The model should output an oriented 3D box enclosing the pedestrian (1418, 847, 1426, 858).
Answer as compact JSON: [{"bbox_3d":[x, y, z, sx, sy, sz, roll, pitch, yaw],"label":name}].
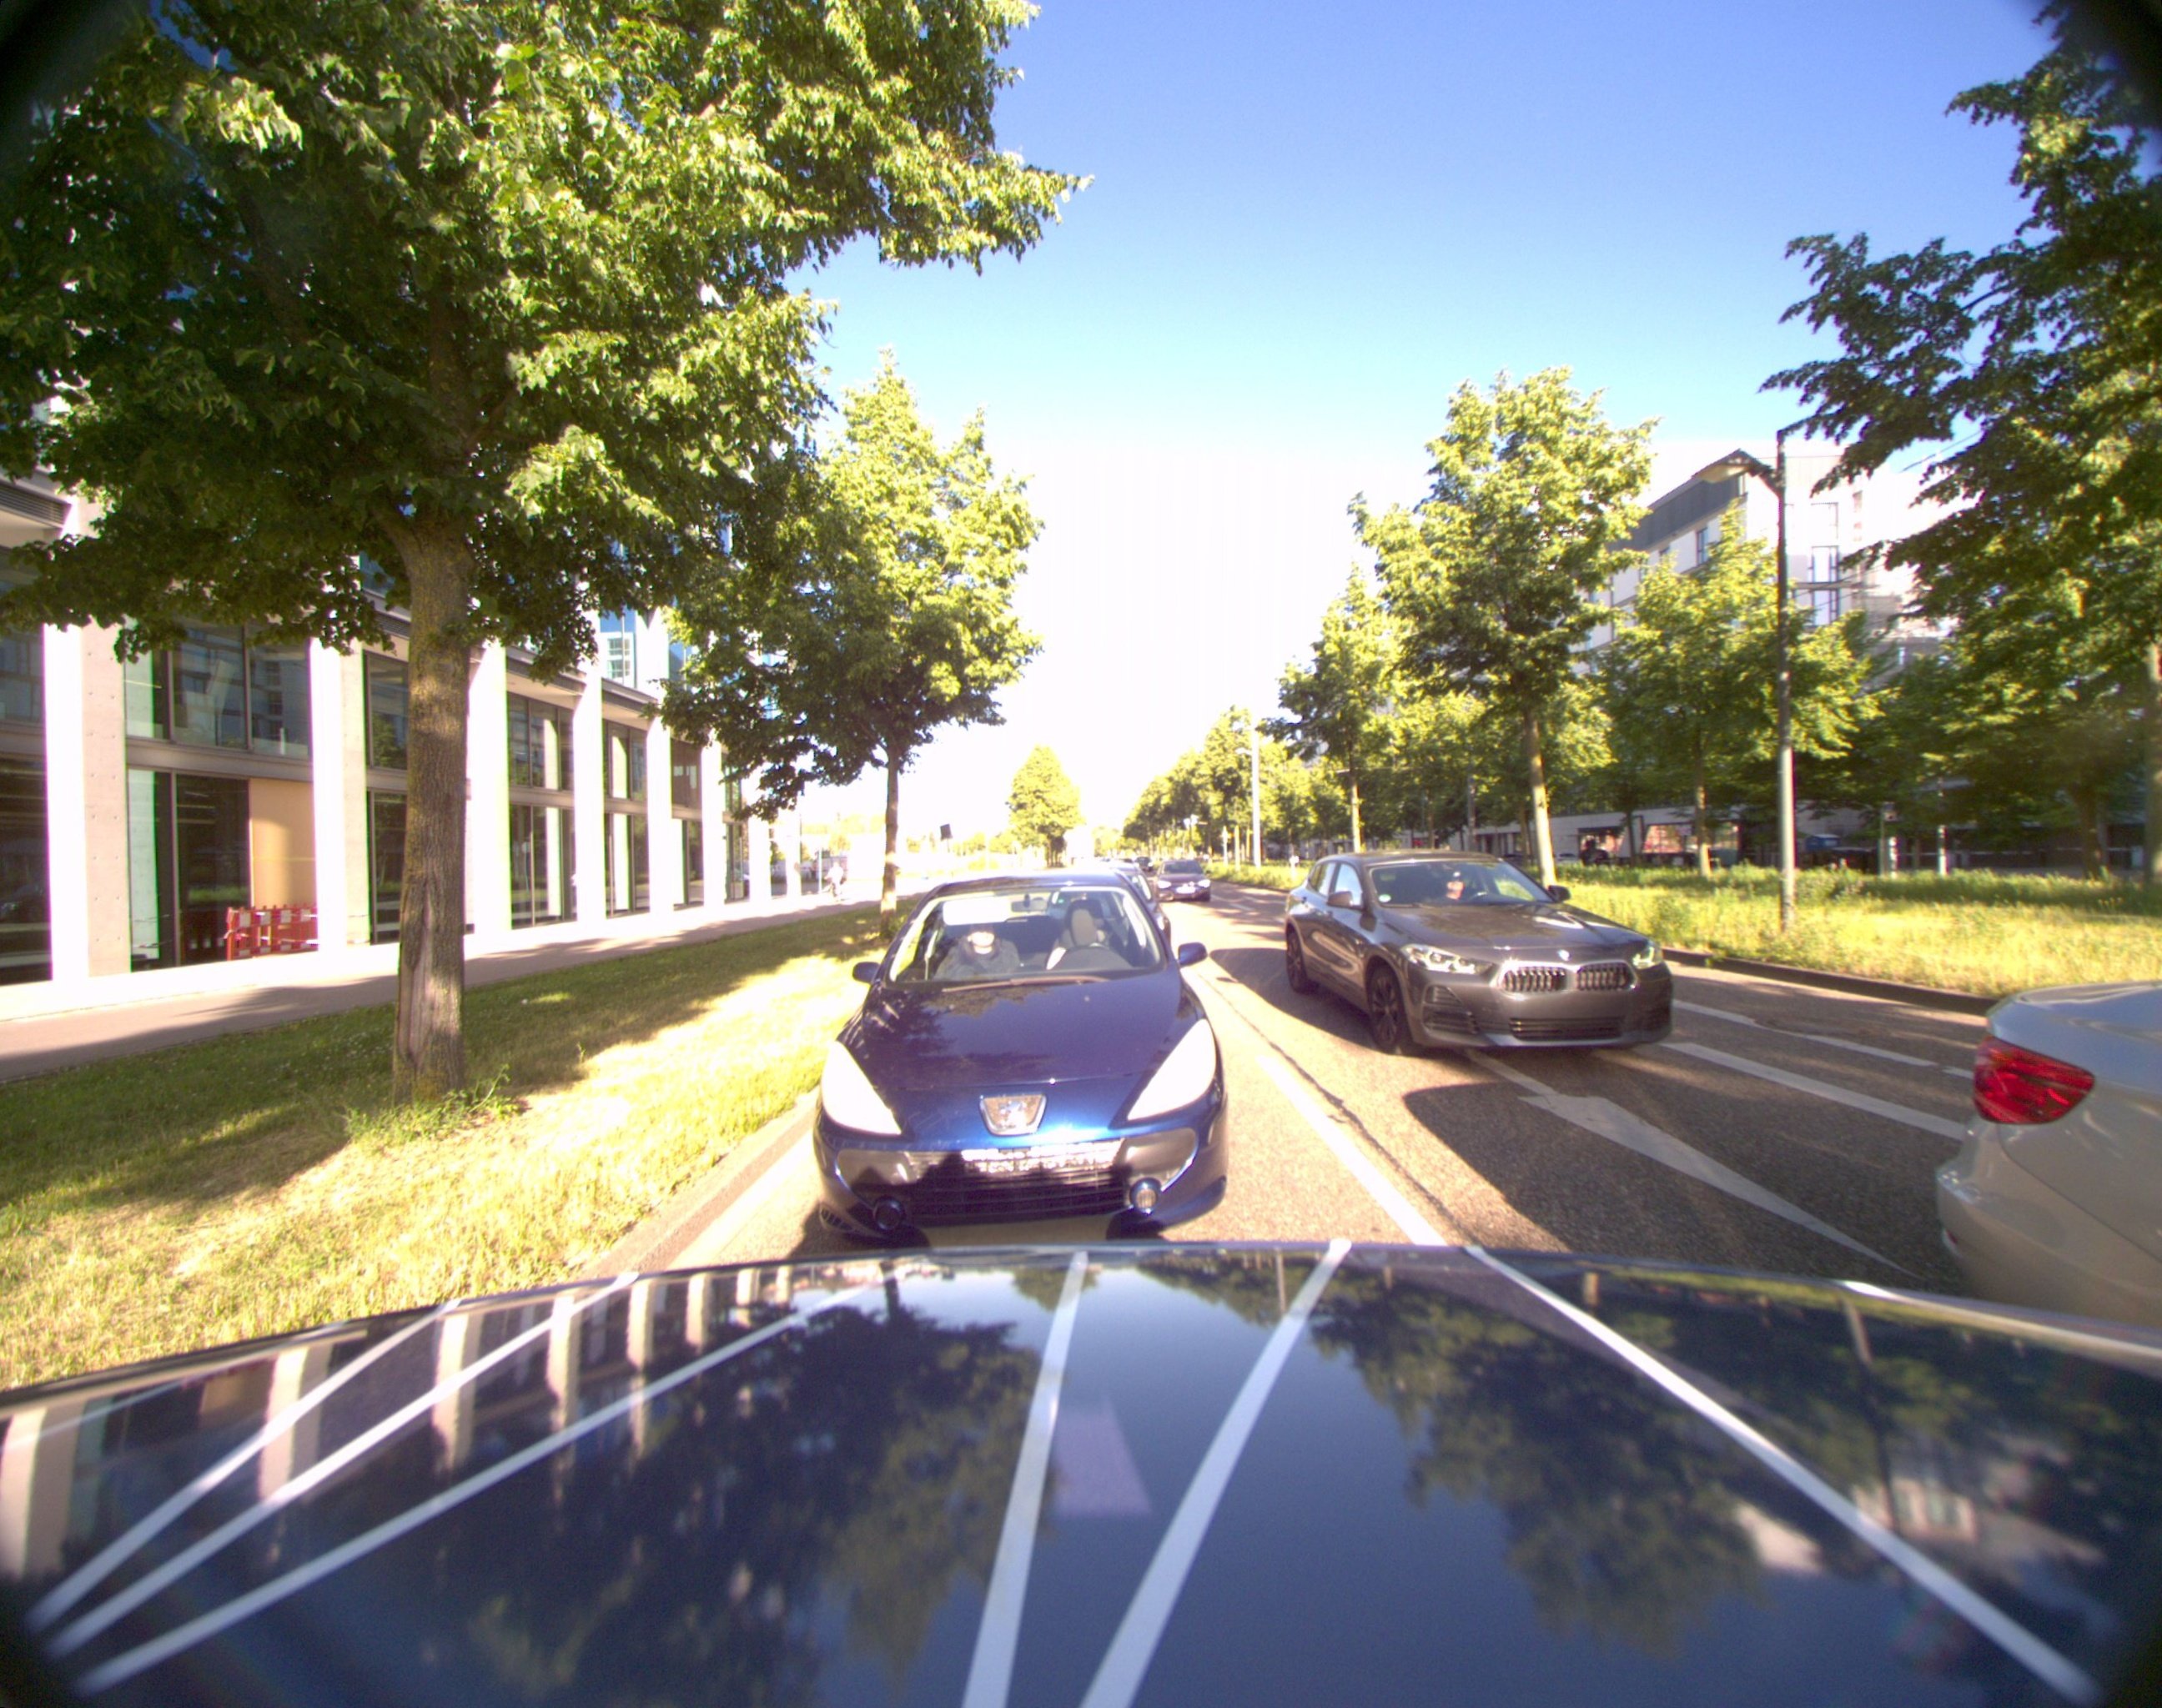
[{"bbox_3d":[41.620,-0.232,92.758,0.604,1.331,0.660,-1,1,1],"label":"pedestrian"}]

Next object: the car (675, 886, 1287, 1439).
[{"bbox_3d":[-0.280,1.051,4.584,1.846,1.473,4.481,-2,0,1],"label":"car"}]

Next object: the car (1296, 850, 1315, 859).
[{"bbox_3d":[36.617,0.013,124.155,1.998,1.387,4.000,-1,0,1],"label":"car"}]

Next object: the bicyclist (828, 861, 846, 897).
[{"bbox_3d":[-10.519,1.090,32.787,0.591,1.530,0.699,1,0,-3],"label":"bicyclist"}]

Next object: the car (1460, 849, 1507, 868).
[{"bbox_3d":[35.161,0.363,66.516,1.884,1.588,4.184,-1,0,1],"label":"car"}]

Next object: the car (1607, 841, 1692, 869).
[{"bbox_3d":[33.787,0.059,45.320,1.951,1.588,4.184,-1,0,1],"label":"car"}]

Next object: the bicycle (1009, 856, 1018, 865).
[{"bbox_3d":[-10.149,0.989,115.093,0.931,1.355,4.000,-1,0,1],"label":"bicycle"}]

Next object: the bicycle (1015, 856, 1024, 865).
[{"bbox_3d":[-9.029,0.954,111.015,0.931,1.355,4.000,-1,0,1],"label":"bicycle"}]

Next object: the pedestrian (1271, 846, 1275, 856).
[{"bbox_3d":[37.950,-0.560,150.136,0.585,2.002,0.619,-1,1,1],"label":"pedestrian"}]

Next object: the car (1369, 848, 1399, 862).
[{"bbox_3d":[35.508,0.141,89.027,1.884,1.588,4.184,-1,0,1],"label":"car"}]

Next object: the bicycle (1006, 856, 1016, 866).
[{"bbox_3d":[-10.208,1.031,110.706,0.931,1.355,4.000,-1,0,1],"label":"bicycle"}]

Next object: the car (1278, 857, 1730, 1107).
[{"bbox_3d":[3.134,0.809,6.708,1.861,1.482,4.000,-1,0,2],"label":"car"}]

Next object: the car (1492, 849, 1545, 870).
[{"bbox_3d":[35.194,0.408,61.233,1.884,1.588,4.184,-1,0,1],"label":"car"}]

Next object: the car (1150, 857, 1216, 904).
[{"bbox_3d":[3.468,0.865,26.609,1.878,1.415,4.344,-1,0,2],"label":"car"}]

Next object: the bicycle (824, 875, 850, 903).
[{"bbox_3d":[-10.527,1.497,32.794,0.591,1.149,1.927,1,0,-3],"label":"bicycle"}]

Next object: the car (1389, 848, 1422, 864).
[{"bbox_3d":[35.450,0.197,83.106,1.884,1.588,4.184,-1,0,1],"label":"car"}]

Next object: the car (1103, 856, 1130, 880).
[{"bbox_3d":[2.371,0.890,51.465,1.724,1.516,4.000,-1,0,1],"label":"car"}]

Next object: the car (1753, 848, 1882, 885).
[{"bbox_3d":[34.091,0.538,35.354,1.951,1.588,4.184,-1,0,1],"label":"car"}]

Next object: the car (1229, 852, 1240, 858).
[{"bbox_3d":[36.124,0.175,179.233,1.998,1.387,4.001,-1,0,4],"label":"car"}]

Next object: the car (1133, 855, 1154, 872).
[{"bbox_3d":[6.342,0.916,77.134,1.878,1.577,4.344,-1,0,2],"label":"car"}]

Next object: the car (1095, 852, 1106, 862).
[{"bbox_3d":[3.294,0.509,128.327,1.879,1.561,4.344,-1,0,1],"label":"car"}]

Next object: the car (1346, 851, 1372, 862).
[{"bbox_3d":[35.339,0.289,96.584,1.998,1.387,4.001,-1,0,4],"label":"car"}]

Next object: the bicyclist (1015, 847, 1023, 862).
[{"bbox_3d":[-9.052,0.069,110.917,0.931,2.045,1.121,-1,1,1],"label":"bicyclist"}]

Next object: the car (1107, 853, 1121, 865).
[{"bbox_3d":[4.588,0.649,105.640,1.878,1.561,4.344,-1,0,2],"label":"car"}]

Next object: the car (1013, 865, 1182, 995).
[{"bbox_3d":[0.226,0.949,11.460,1.998,1.437,4.622,-1,0,1],"label":"car"}]

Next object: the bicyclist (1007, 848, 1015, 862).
[{"bbox_3d":[-10.221,0.144,110.715,0.931,2.045,1.121,-1,1,1],"label":"bicyclist"}]

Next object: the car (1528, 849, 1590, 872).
[{"bbox_3d":[34.908,0.475,55.609,1.884,1.588,4.184,-1,0,1],"label":"car"}]

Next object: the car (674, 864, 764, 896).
[{"bbox_3d":[-20.036,1.426,42.153,3.996,1.569,2.000,-1,0,3],"label":"car"}]

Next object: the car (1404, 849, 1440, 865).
[{"bbox_3d":[35.037,0.267,78.198,1.884,1.588,4.184,-1,0,1],"label":"car"}]

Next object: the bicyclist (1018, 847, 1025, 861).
[{"bbox_3d":[-9.003,0.029,115.078,0.931,2.045,1.121,-1,1,1],"label":"bicyclist"}]
